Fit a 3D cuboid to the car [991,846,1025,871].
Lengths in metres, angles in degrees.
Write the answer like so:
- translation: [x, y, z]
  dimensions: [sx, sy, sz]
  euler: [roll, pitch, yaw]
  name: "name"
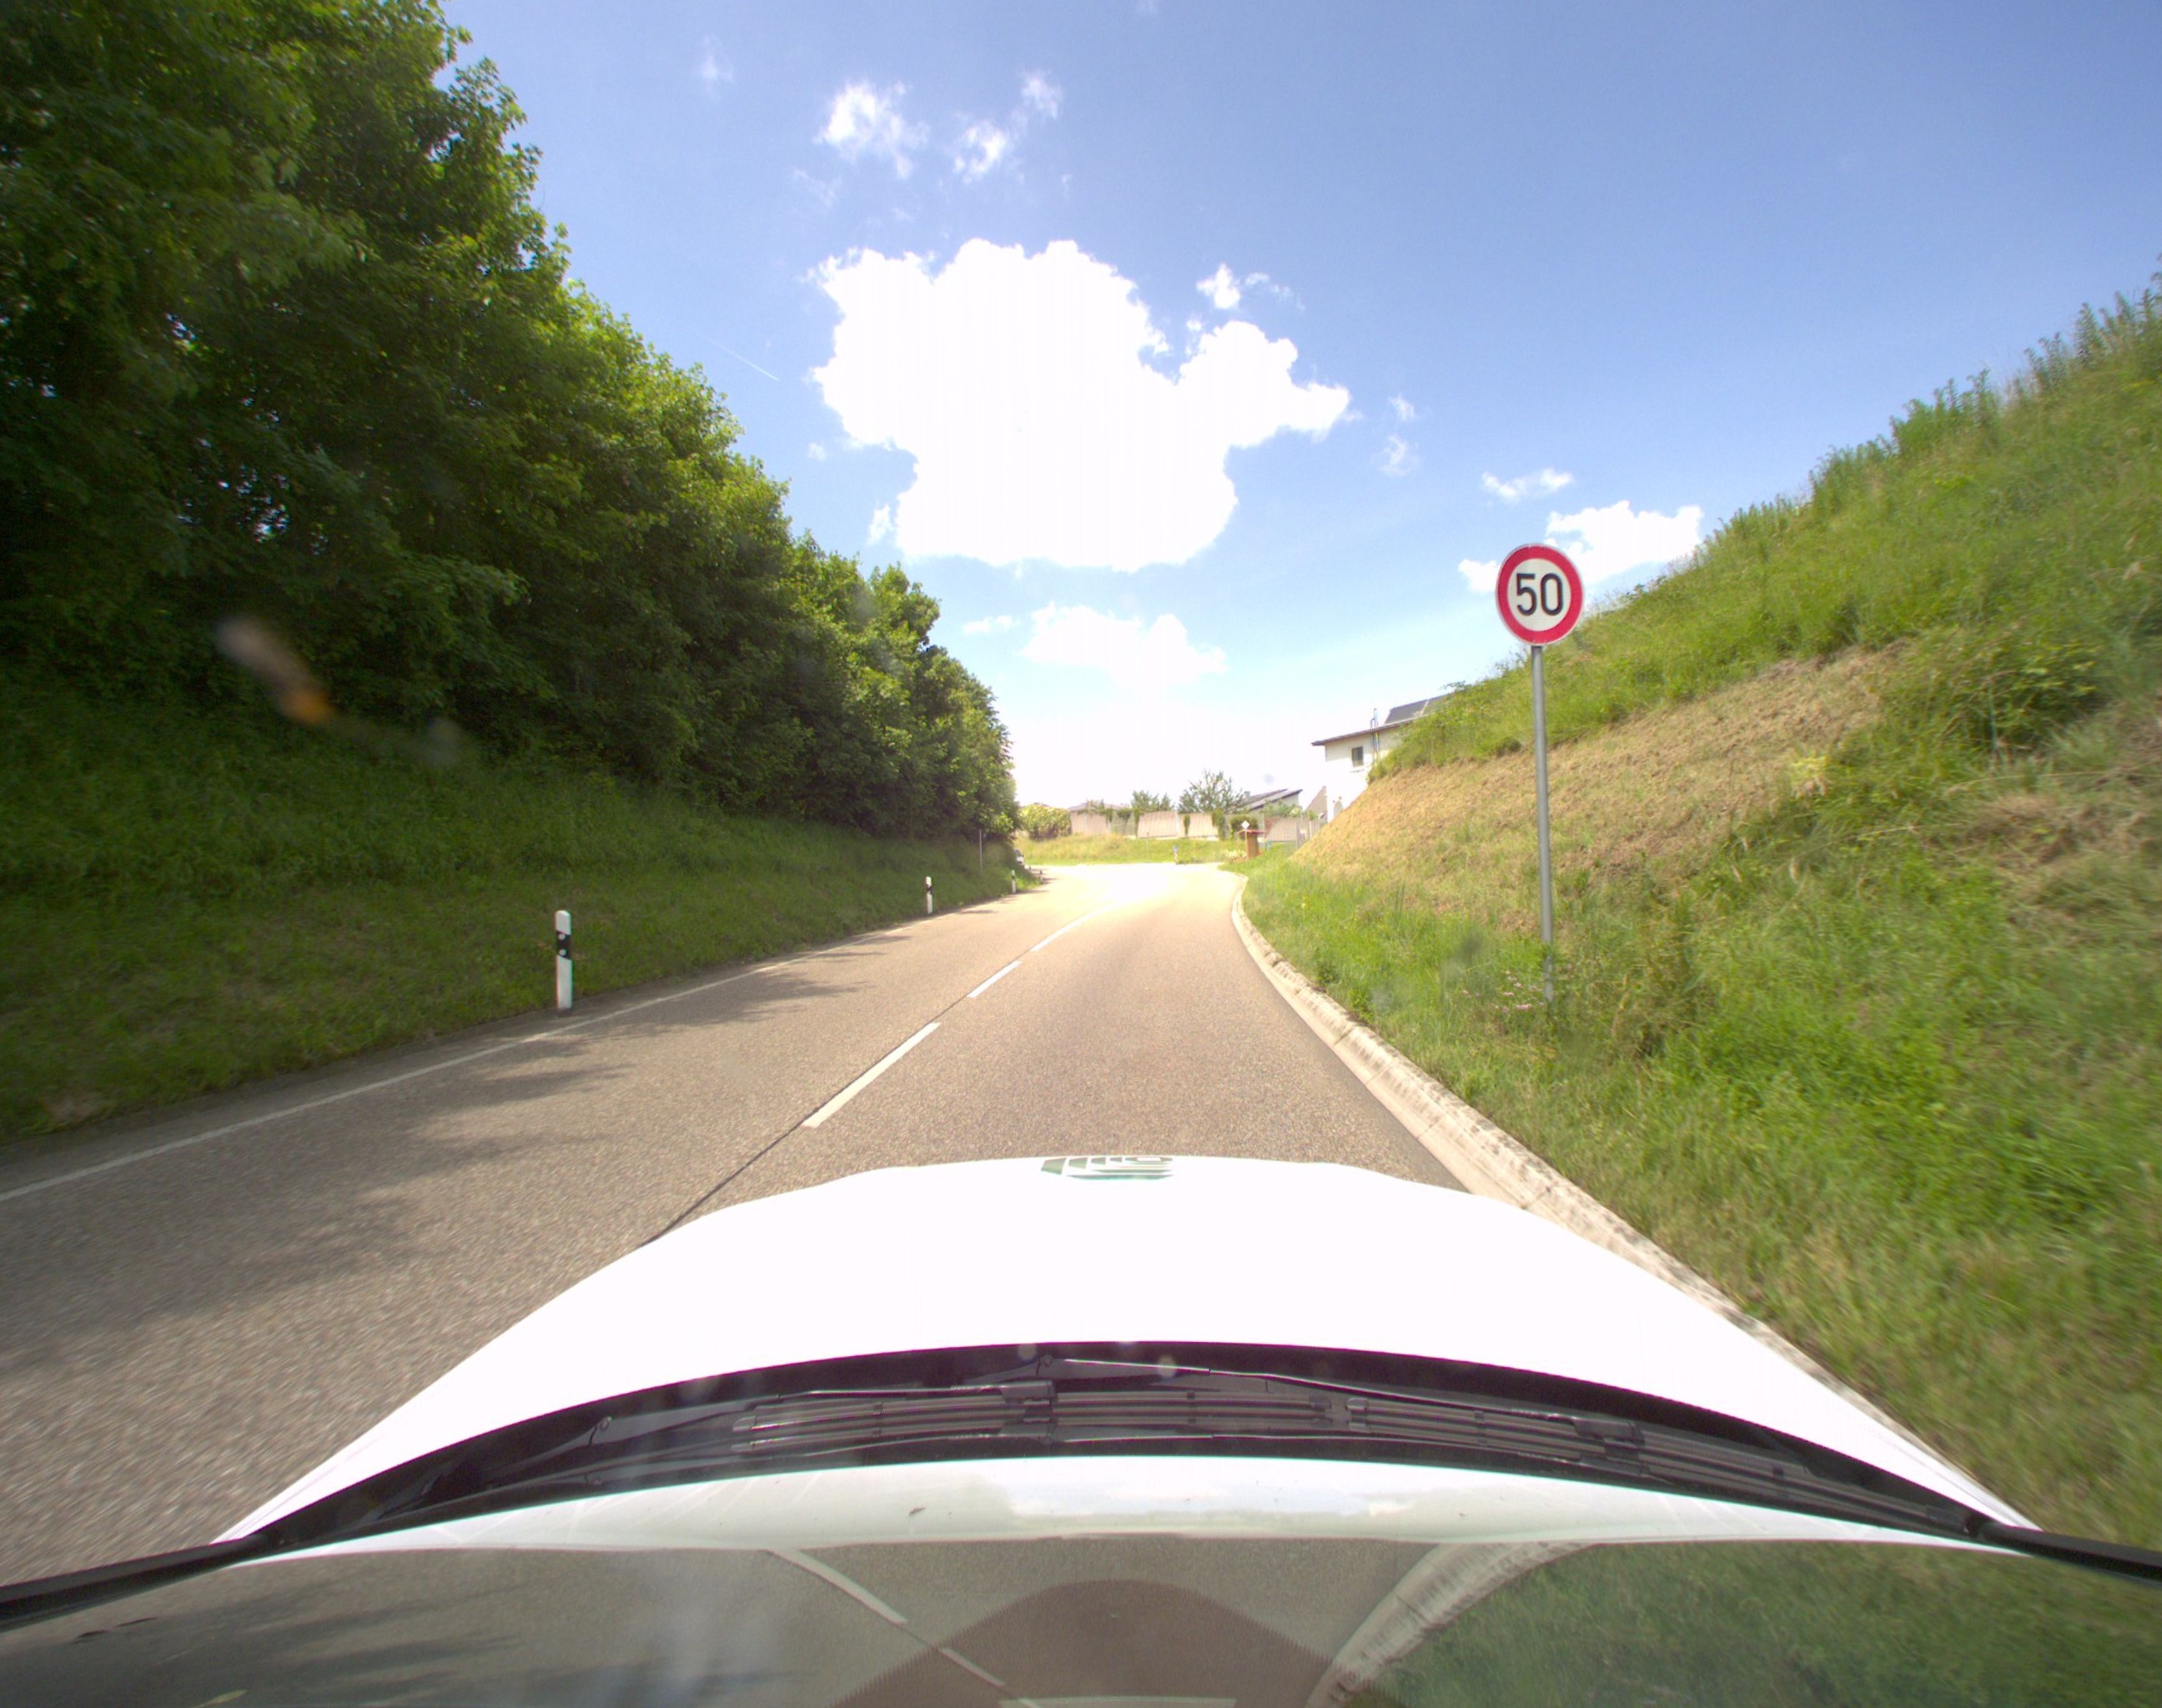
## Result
- translation: [-7.317, 0.480, 80.995]
  dimensions: [2.091, 2.290, 5.910]
  euler: [-3, -1, -18]
  name: "car"
